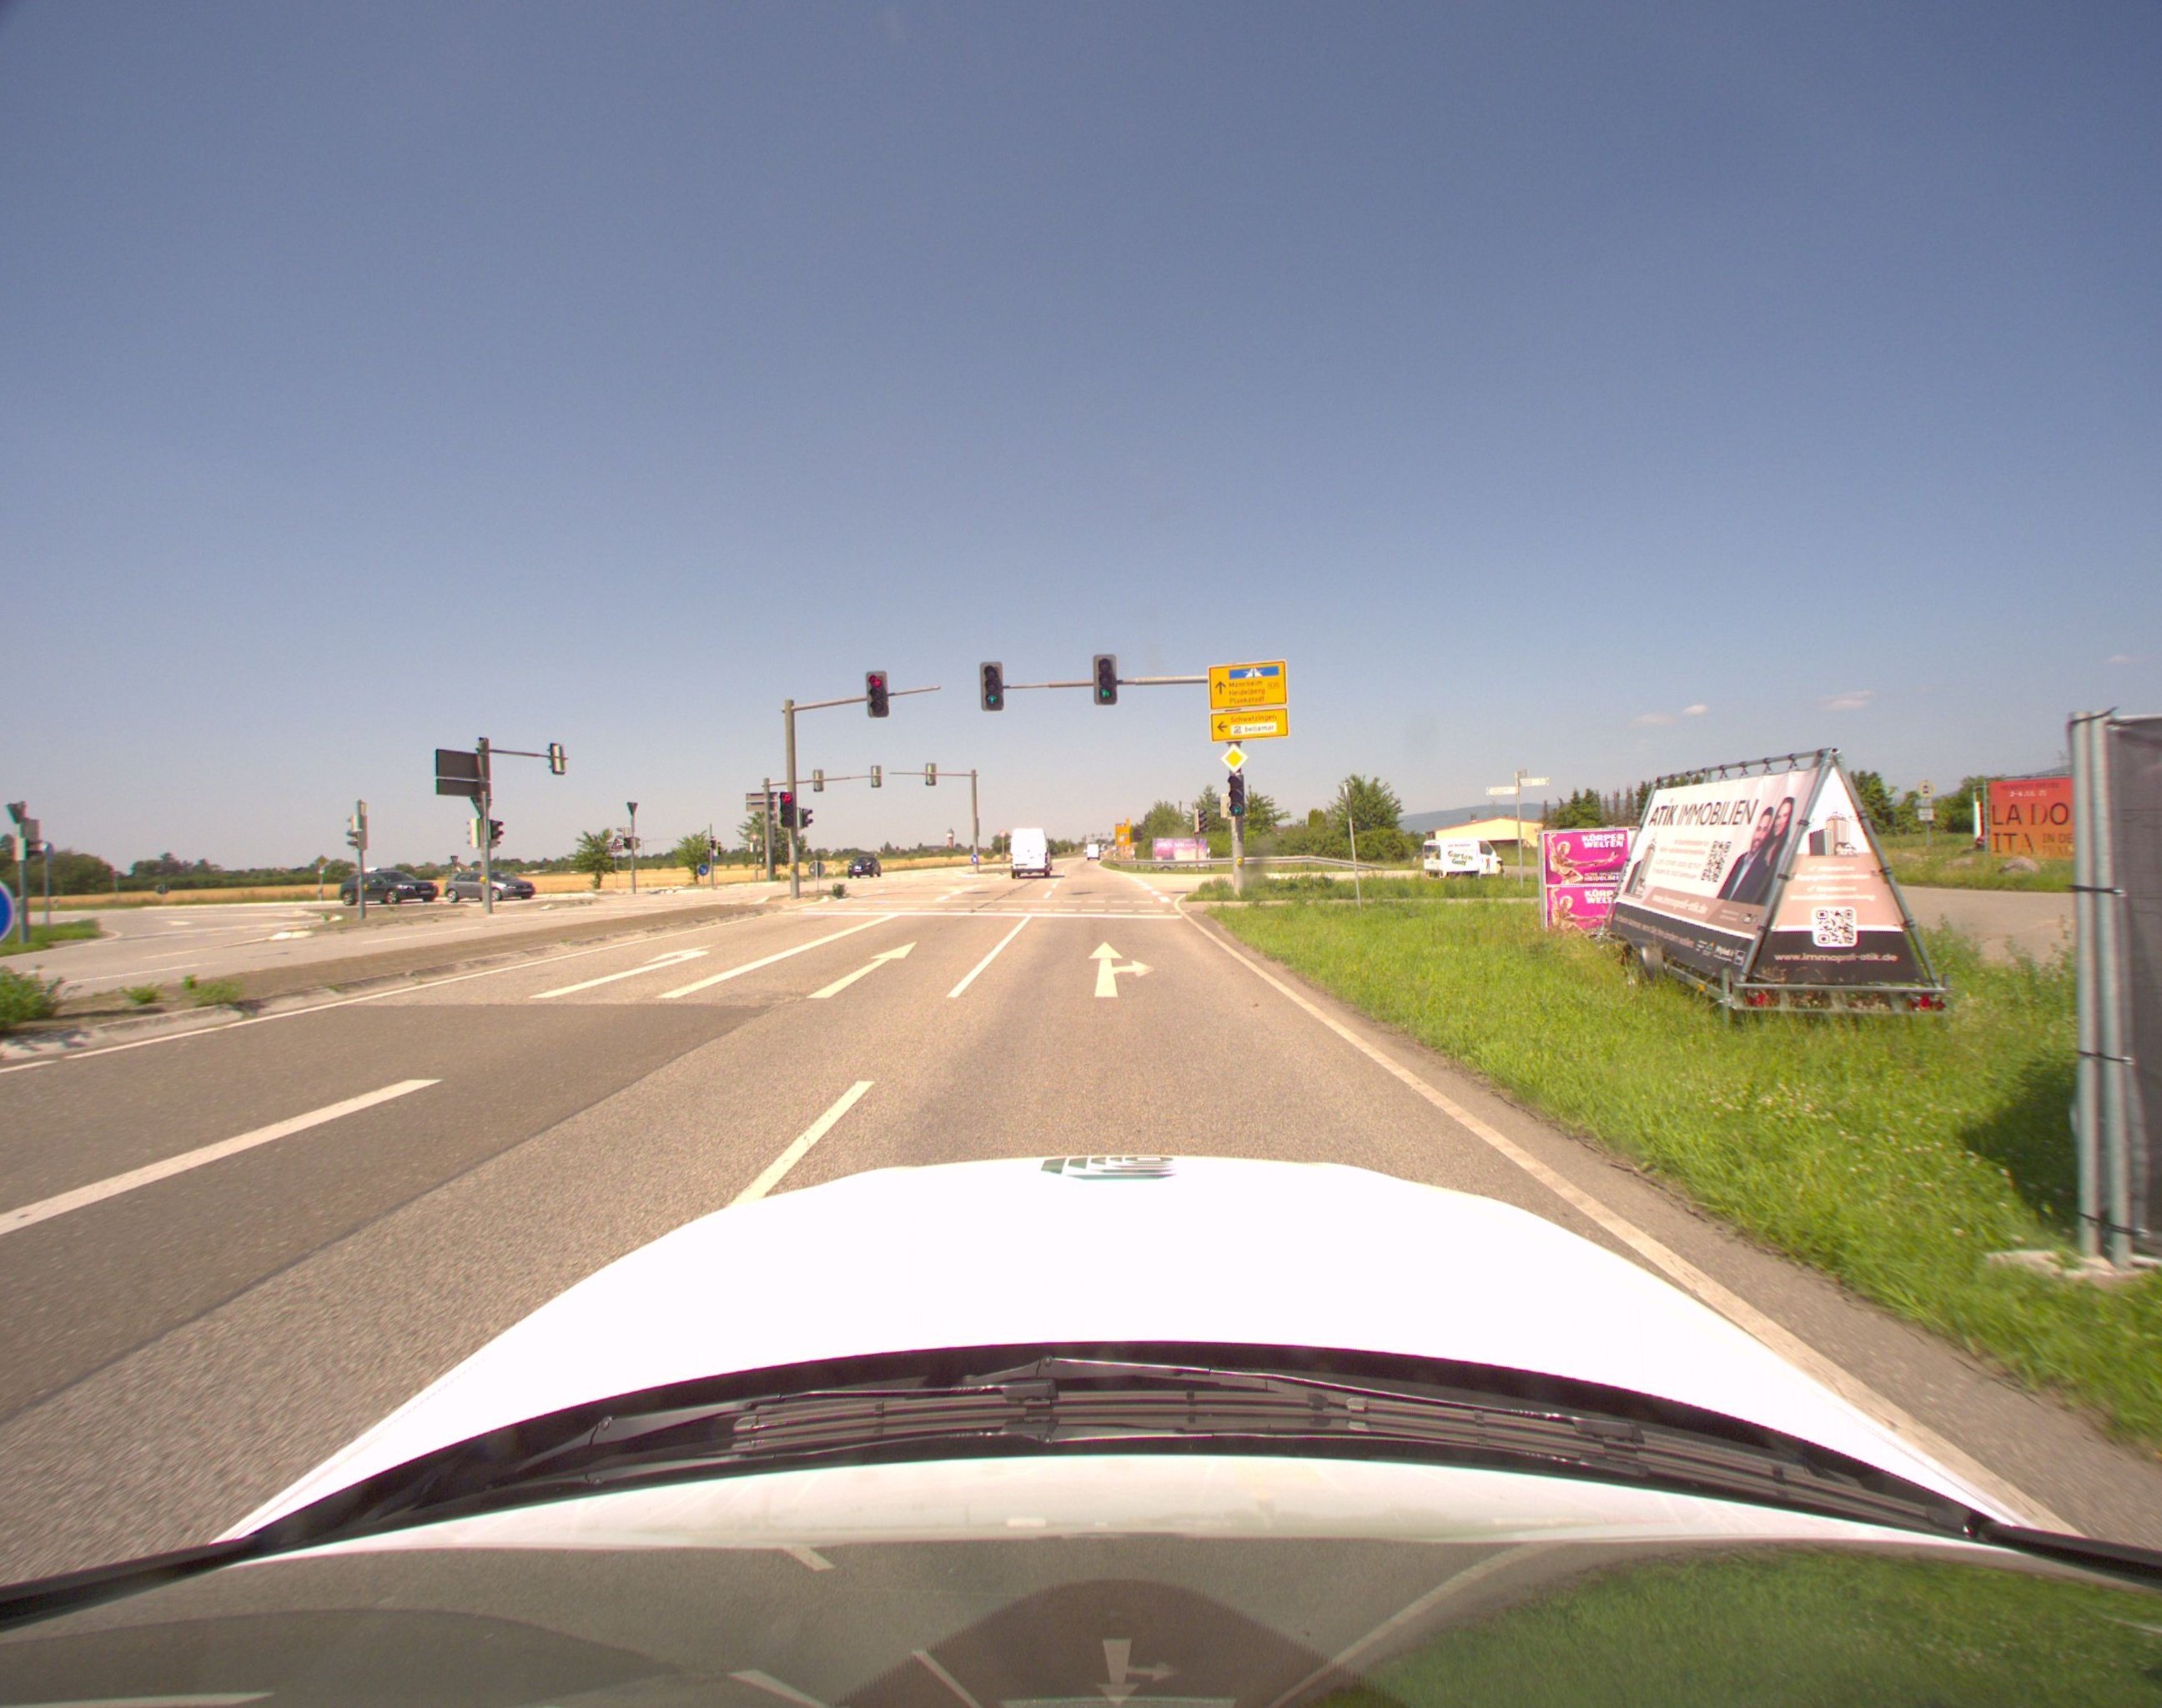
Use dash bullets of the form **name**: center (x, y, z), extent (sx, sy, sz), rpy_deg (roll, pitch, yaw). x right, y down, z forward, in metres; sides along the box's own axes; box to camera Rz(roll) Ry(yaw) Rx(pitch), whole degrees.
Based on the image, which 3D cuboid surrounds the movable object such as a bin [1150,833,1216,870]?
- **movable object such as a bin**: center (6.536, -0.153, 52.485), extent (4.085, 2.331, 1.276), rpy_deg (0, -1, -4)

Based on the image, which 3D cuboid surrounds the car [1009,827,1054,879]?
- **car**: center (-2.654, -0.063, 44.896), extent (2.033, 2.620, 5.740), rpy_deg (-2, 0, 0)

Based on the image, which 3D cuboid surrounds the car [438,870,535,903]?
- **car**: center (-28.512, 1.555, 39.083), extent (3.840, 1.387, 1.641), rpy_deg (-2, 1, 14)

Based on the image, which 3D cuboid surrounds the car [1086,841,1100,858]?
- **car**: center (2.013, -0.688, 132.695), extent (1.984, 2.695, 4.975), rpy_deg (0, -1, 4)

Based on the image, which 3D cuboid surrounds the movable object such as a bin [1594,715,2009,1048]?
- **movable object such as a bin**: center (6.575, 0.204, 8.109), extent (1.509, 2.363, 4.446), rpy_deg (0, 0, 19)

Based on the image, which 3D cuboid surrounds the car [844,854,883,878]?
- **car**: center (-15.744, 0.843, 59.084), extent (1.826, 1.600, 4.300), rpy_deg (-3, 0, -3)

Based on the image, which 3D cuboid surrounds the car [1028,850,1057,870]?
- **car**: center (-3.140, 0.440, 66.733), extent (1.791, 1.508, 4.201), rpy_deg (-1, 1, 4)

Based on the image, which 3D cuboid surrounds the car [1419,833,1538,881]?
- **car**: center (13.323, 0.096, 27.365), extent (3.331, 1.499, 1.398), rpy_deg (-1, 0, -6)

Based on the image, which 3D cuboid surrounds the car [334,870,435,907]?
- **car**: center (-34.681, 1.722, 40.567), extent (4.321, 1.594, 1.642), rpy_deg (-3, 0, 16)
